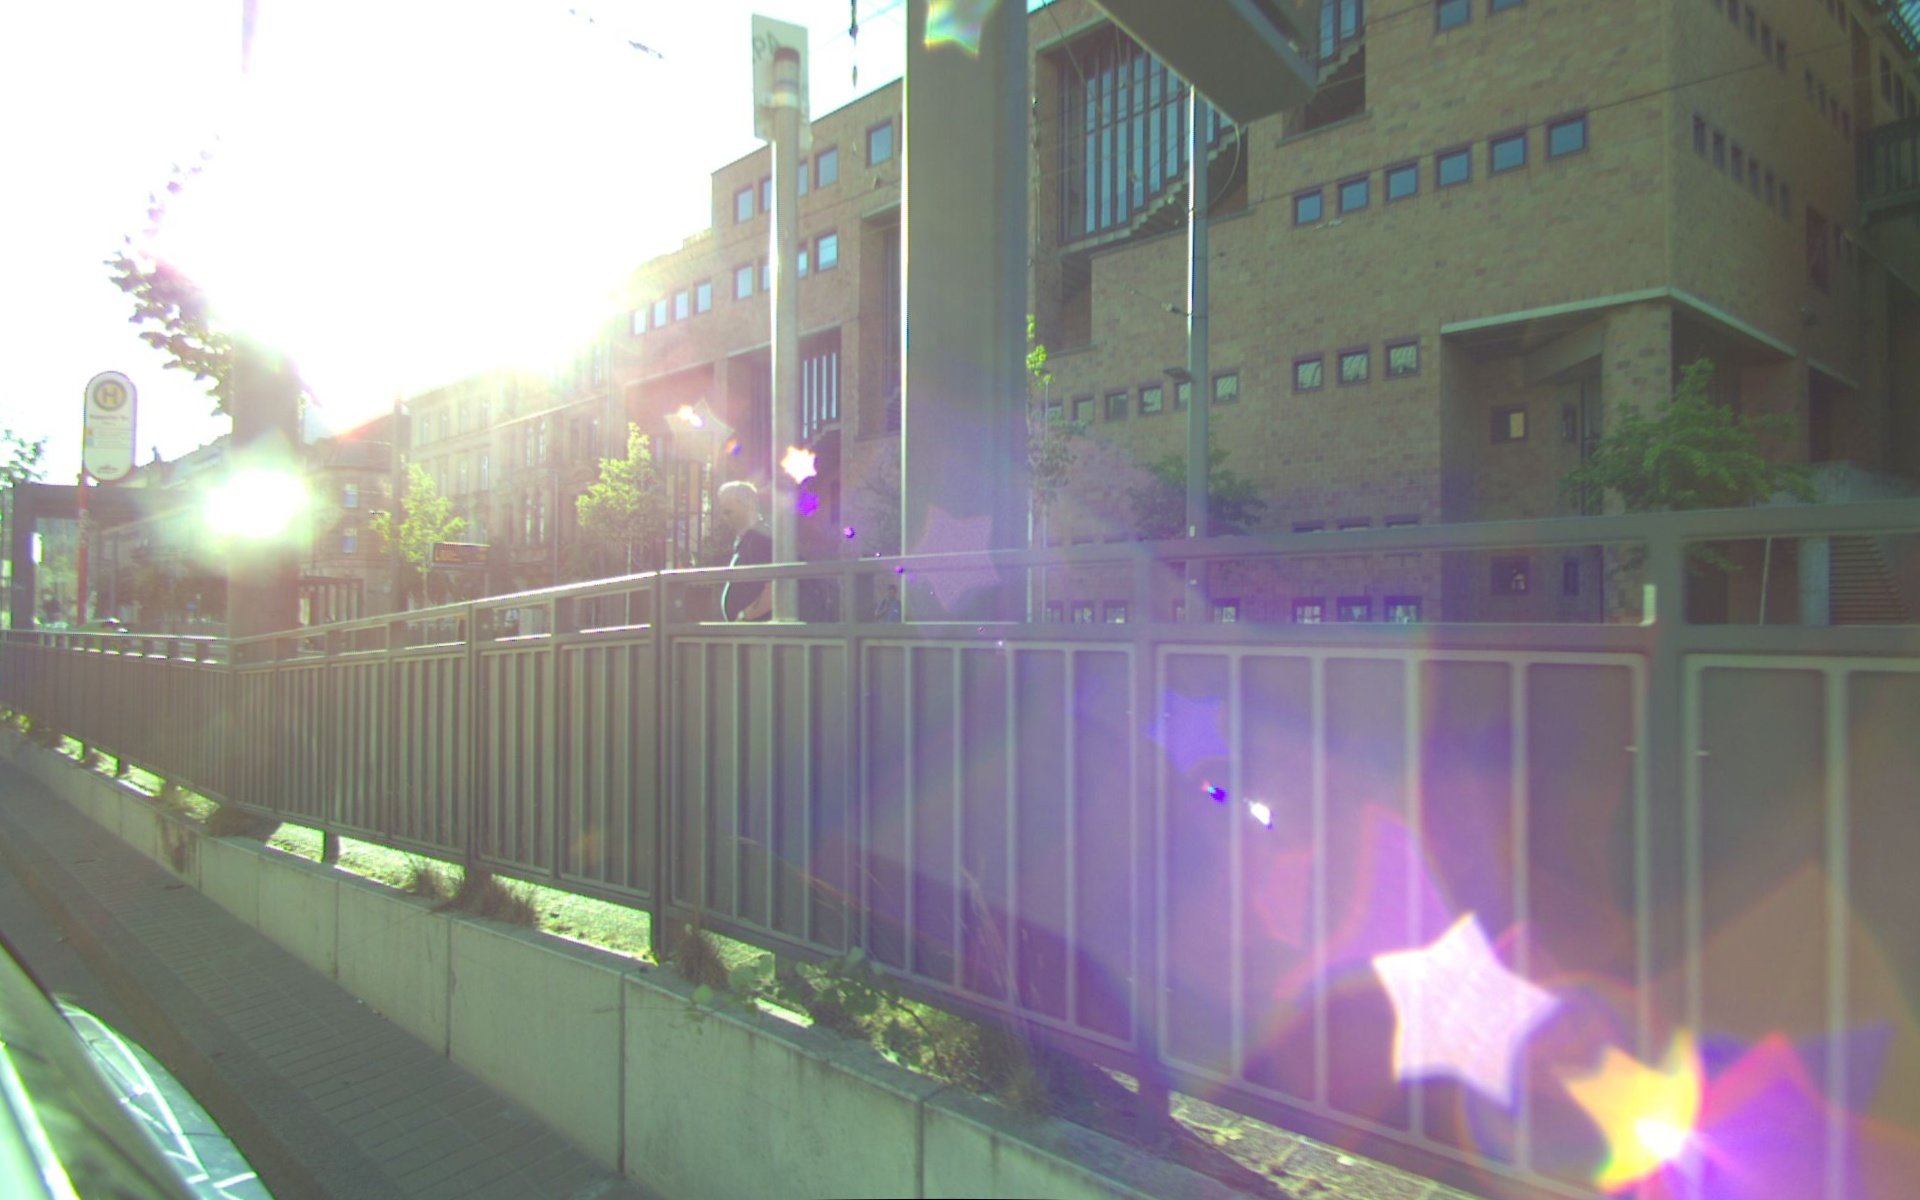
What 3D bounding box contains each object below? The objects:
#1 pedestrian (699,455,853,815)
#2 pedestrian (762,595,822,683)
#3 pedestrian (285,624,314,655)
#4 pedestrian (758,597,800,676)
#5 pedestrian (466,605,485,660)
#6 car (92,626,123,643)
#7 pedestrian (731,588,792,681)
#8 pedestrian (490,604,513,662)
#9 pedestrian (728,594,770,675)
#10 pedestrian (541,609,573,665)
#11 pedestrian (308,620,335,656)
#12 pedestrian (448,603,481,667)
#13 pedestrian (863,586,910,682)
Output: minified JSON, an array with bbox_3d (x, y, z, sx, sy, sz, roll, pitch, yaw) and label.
[{"bbox_3d":[-0.928,0.165,5.115,0.521,1.682,0.542,-2,-1,41],"label":"pedestrian"},{"bbox_3d":[-3.180,0.723,19.174,0.945,1.620,0.633,-2,0,42],"label":"pedestrian"},{"bbox_3d":[-25.440,1.514,38.966,0.721,1.177,0.713,-1,-4,41],"label":"pedestrian"},{"bbox_3d":[-3.808,0.763,21.299,0.616,1.624,0.616,-2,-1,41],"label":"pedestrian"},{"bbox_3d":[-14.770,0.983,30.852,0.416,1.660,0.374,-2,0,41],"label":"pedestrian"},{"bbox_3d":[-89.166,3.543,105.856,4.544,1.671,1.917,-1,0,43],"label":"car"},{"bbox_3d":[-3.664,0.615,18.641,0.945,1.655,0.633,-2,0,42],"label":"pedestrian"},{"bbox_3d":[-13.165,0.941,29.068,0.553,1.633,0.374,-2,0,42],"label":"pedestrian"},{"bbox_3d":[-4.567,0.734,21.919,0.616,1.728,0.616,-2,-1,41],"label":"pedestrian"},{"bbox_3d":[-10.859,0.991,27.272,0.642,1.470,0.533,-2,0,41],"label":"pedestrian"},{"bbox_3d":[-23.809,1.404,37.739,0.721,1.319,0.639,-1,-4,41],"label":"pedestrian"},{"bbox_3d":[-13.568,0.940,27.715,0.541,1.708,0.633,-2,0,41],"label":"pedestrian"},{"bbox_3d":[-1.373,0.621,18.868,0.616,1.751,0.575,-2,-1,41],"label":"pedestrian"}]
